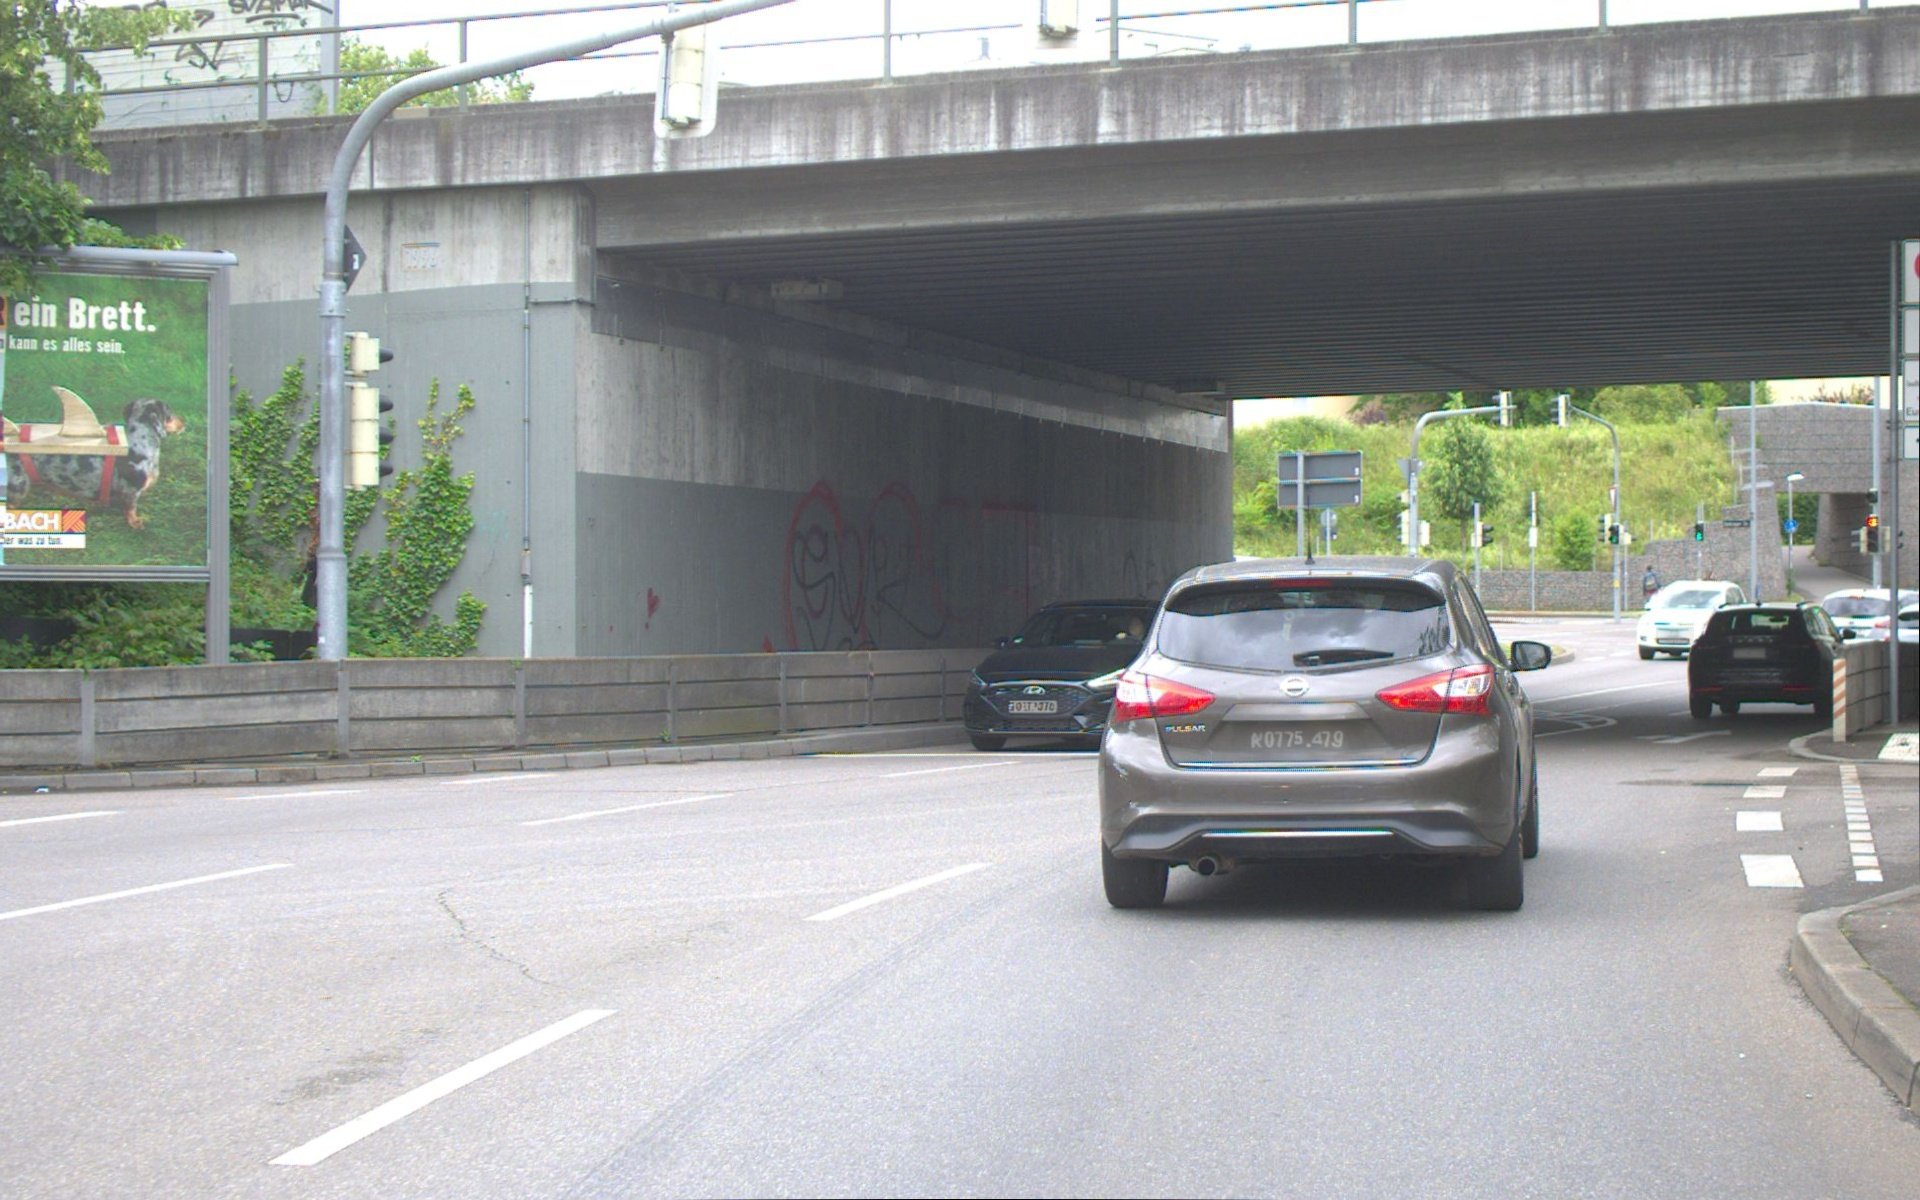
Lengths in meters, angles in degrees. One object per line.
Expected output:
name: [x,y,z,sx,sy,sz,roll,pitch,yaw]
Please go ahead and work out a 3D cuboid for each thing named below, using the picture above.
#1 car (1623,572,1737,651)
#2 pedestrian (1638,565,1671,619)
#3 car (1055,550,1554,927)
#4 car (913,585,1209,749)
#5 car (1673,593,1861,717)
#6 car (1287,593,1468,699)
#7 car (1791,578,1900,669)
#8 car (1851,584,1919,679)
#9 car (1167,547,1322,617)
car: [15.585,0.253,74.254,1.785,1.654,4.104,0,0,21]
pedestrian: [20.848,-0.232,103.241,0.953,1.607,0.699,1,1,11]
car: [1.706,0.553,15.757,1.845,1.488,3.998,0,0,12]
car: [1.064,0.614,33.701,1.818,1.472,4.133,1,0,18]
car: [10.340,0.664,43.857,1.901,1.461,3.996,0,1,20]
car: [5.852,0.638,47.853,1.725,1.405,3.996,0,-1,19]
car: [17.468,0.434,67.711,1.831,1.700,3.865,1,1,18]
car: [16.967,0.528,60.035,1.996,1.612,3.994,0,0,26]
car: [8.039,-0.505,97.014,3.990,1.941,1.998,0,0,18]
